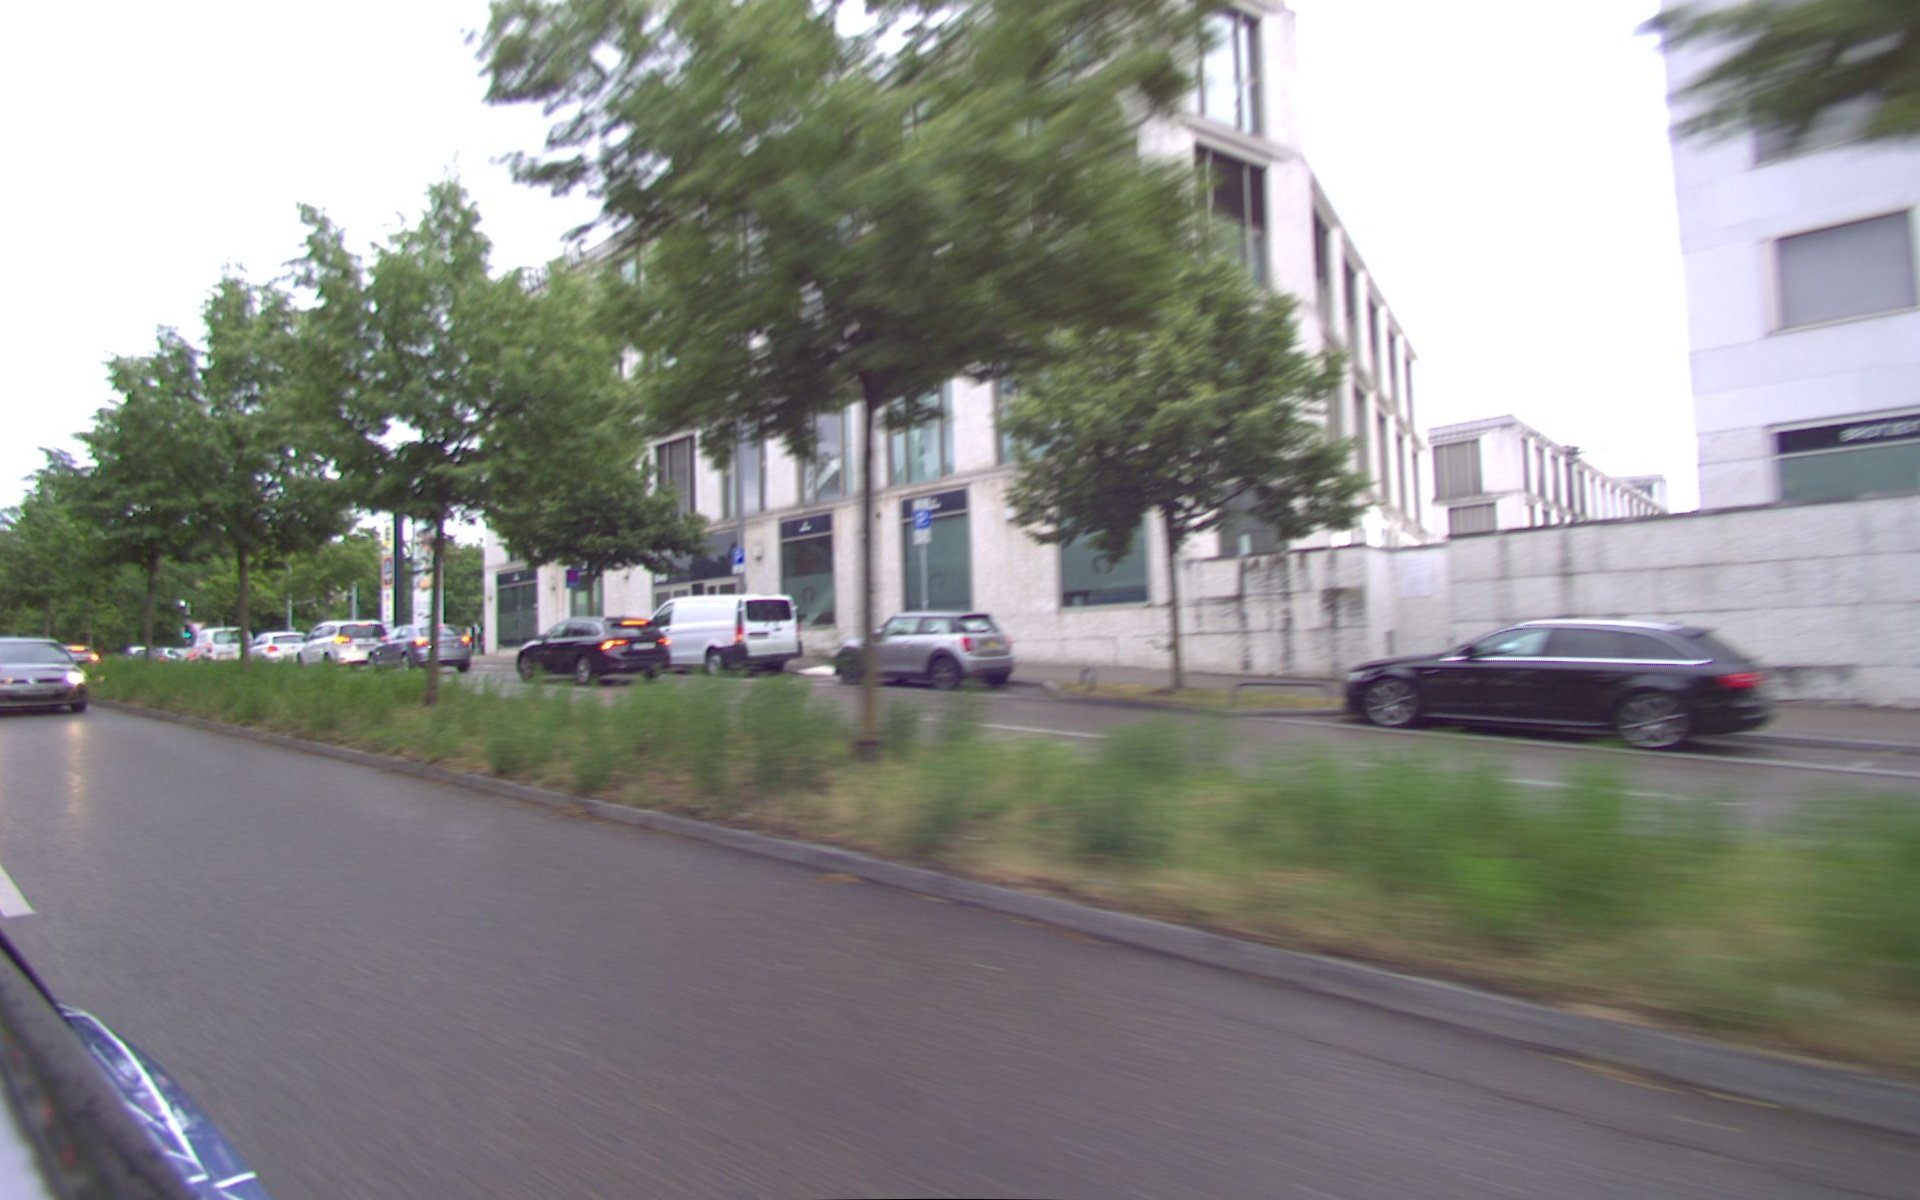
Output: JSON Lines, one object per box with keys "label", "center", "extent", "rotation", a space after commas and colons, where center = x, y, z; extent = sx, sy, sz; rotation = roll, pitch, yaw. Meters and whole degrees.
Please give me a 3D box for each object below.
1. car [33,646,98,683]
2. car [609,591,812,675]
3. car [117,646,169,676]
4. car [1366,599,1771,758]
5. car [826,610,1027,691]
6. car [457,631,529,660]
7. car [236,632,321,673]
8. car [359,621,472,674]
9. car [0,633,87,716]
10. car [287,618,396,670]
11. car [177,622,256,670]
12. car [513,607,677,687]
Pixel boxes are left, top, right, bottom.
{"label": "car", "center": [-44.890, 3.259, 50.750], "extent": [4.161, 1.587, 1.830], "rotation": [-6, -4, 40]}
{"label": "car", "center": [-6.140, 0.812, 24.565], "extent": [5.256, 1.830, 2.100], "rotation": [-2, -2, 40]}
{"label": "car", "center": [-44.297, 3.295, 54.838], "extent": [3.750, 1.471, 1.696], "rotation": [-6, -6, 43]}
{"label": "car", "center": [7.312, 0.812, 12.394], "extent": [4.016, 1.593, 1.677], "rotation": [1, 0, 42]}
{"label": "car", "center": [-0.703, 0.927, 19.494], "extent": [3.696, 1.395, 1.678], "rotation": [-2, -1, 40]}
{"label": "car", "center": [-23.504, 2.280, 51.070], "extent": [1.553, 1.387, 3.280], "rotation": [-3, -3, 15]}
{"label": "car", "center": [-25.975, 1.979, 38.518], "extent": [4.059, 1.479, 1.725], "rotation": [-3, -4, 42]}
{"label": "car", "center": [-15.982, 1.408, 29.615], "extent": [3.994, 1.422, 1.624], "rotation": [-4, -4, 41]}
{"label": "car", "center": [-18.389, 1.452, 19.636], "extent": [4.001, 1.450, 1.878], "rotation": [-5, -4, 45]}
{"label": "car", "center": [-20.556, 1.441, 33.538], "extent": [4.672, 1.613, 1.810], "rotation": [-3, -2, 42]}
{"label": "car", "center": [-32.591, 2.037, 44.334], "extent": [4.771, 1.816, 1.824], "rotation": [-6, -3, 42]}
{"label": "car", "center": [-8.157, 1.000, 22.463], "extent": [4.015, 1.593, 1.677], "rotation": [-2, -1, 41]}
